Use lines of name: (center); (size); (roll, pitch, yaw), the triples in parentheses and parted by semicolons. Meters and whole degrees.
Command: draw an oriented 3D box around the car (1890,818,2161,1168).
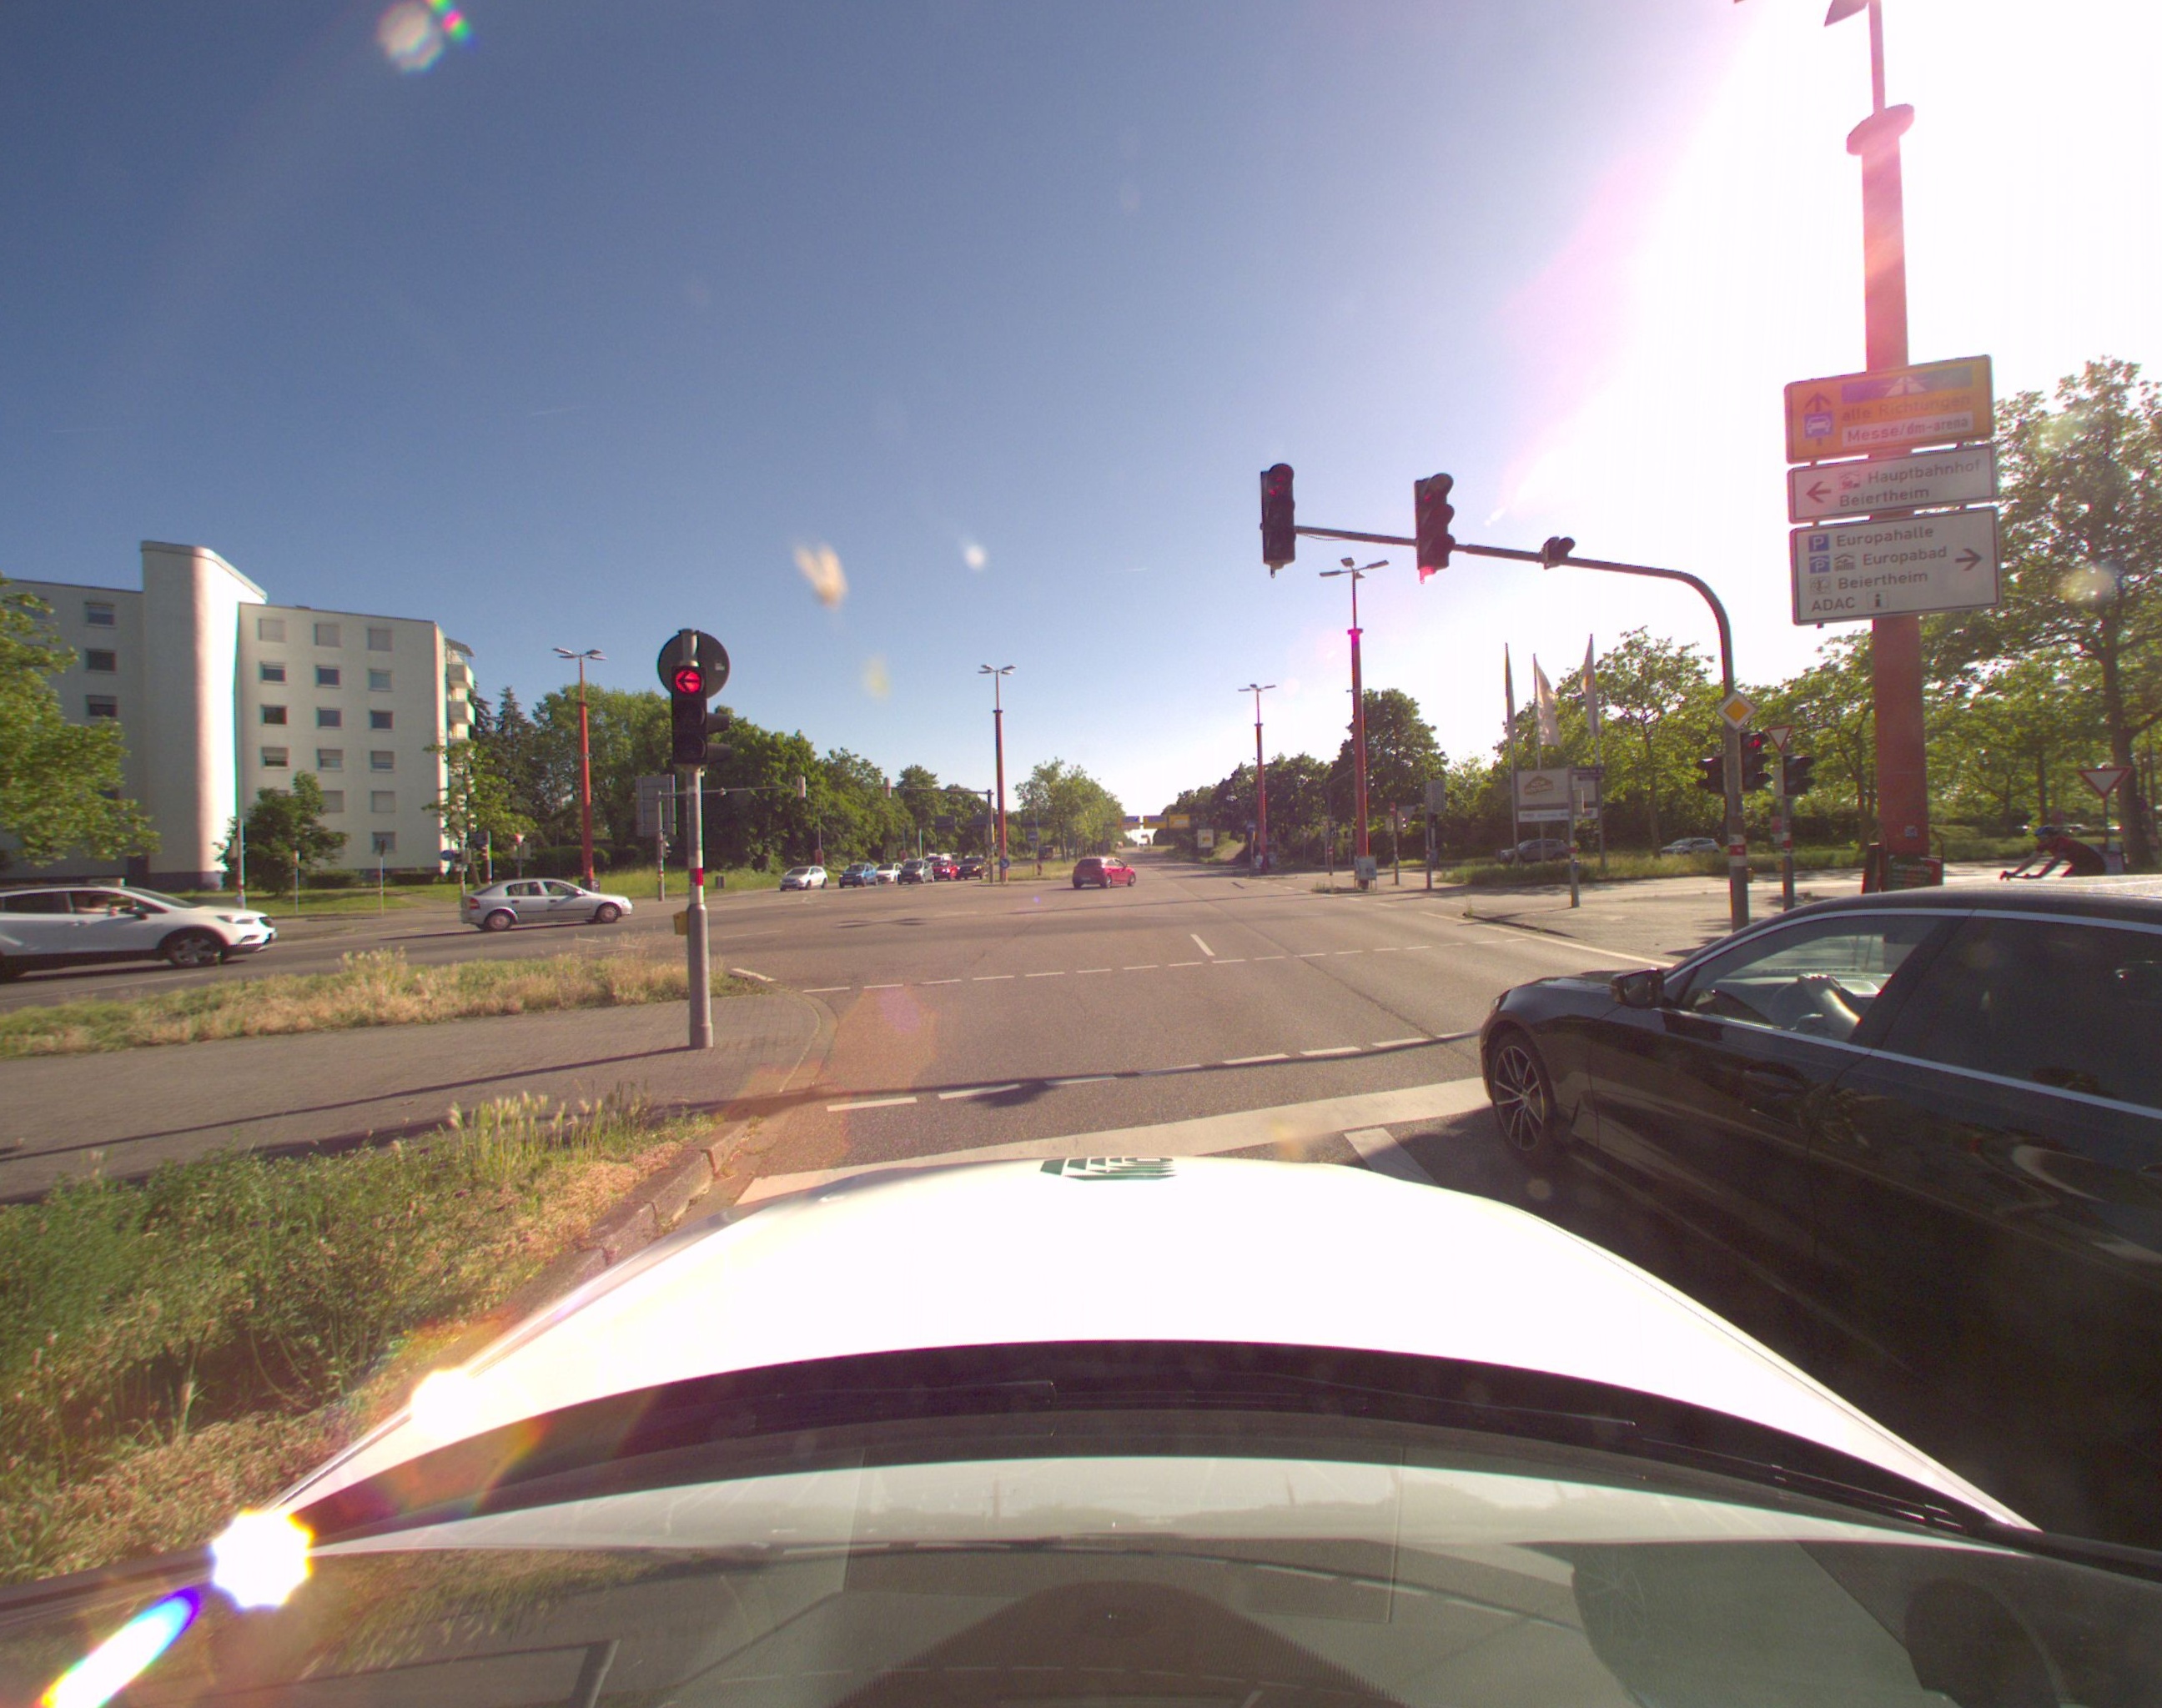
car: (5.675, 0.600, 2.867); (1.732, 1.578, 4.032); (-2, 0, 3)

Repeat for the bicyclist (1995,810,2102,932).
bicyclist: (14.454, 0.241, 12.175); (0.998, 1.741, 0.731); (-2, 0, -22)

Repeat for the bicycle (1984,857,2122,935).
bicycle: (14.568, 0.599, 12.205); (1.831, 1.057, 0.718); (-2, 0, -20)

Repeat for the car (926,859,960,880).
car: (-9.903, 1.085, 58.670); (1.733, 1.362, 3.613); (-2, 0, 1)

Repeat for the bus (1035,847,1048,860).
bus: (-10.314, -0.018, 211.723); (2.482, 3.238, 10.004); (-2, 0, 2)

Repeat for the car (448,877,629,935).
car: (-15.274, 1.401, 23.076); (1.469, 1.346, 4.024); (-2, 0, 43)

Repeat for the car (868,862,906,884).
car: (-13.668, 1.316, 57.532); (1.733, 1.411, 3.613); (-2, 0, 1)

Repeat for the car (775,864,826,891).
car: (-17.575, 1.454, 51.196); (1.754, 1.532, 3.936); (-2, 0, 1)

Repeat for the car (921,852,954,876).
car: (-12.584, 0.847, 71.823); (1.886, 2.026, 5.224); (-1, 0, 1)

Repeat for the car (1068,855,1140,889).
car: (1.148, 0.794, 38.261); (1.664, 1.435, 4.090); (-2, 0, 28)

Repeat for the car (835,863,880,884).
car: (-14.085, 1.209, 51.423); (1.733, 1.243, 3.613); (-2, 0, 1)

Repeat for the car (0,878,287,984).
car: (-17.785, 1.357, 14.985); (4.271, 1.636, 1.809); (-2, 0, -36)

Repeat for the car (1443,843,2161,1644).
car: (2.895, 0.687, 2.380); (1.862, 1.398, 4.446); (-2, 0, 3)

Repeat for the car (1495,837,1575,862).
car: (30.195, -0.310, 54.289); (4.293, 1.485, 1.788); (-2, 0, 6)

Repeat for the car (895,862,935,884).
car: (-10.601, 1.186, 52.311); (1.733, 1.243, 3.613); (-2, 0, 1)

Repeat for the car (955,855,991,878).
car: (-7.484, 0.834, 56.702); (1.812, 1.508, 4.002); (-2, 0, 2)

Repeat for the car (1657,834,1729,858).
car: (41.718, -0.548, 55.557); (3.983, 1.467, 1.678); (-2, 0, -11)
